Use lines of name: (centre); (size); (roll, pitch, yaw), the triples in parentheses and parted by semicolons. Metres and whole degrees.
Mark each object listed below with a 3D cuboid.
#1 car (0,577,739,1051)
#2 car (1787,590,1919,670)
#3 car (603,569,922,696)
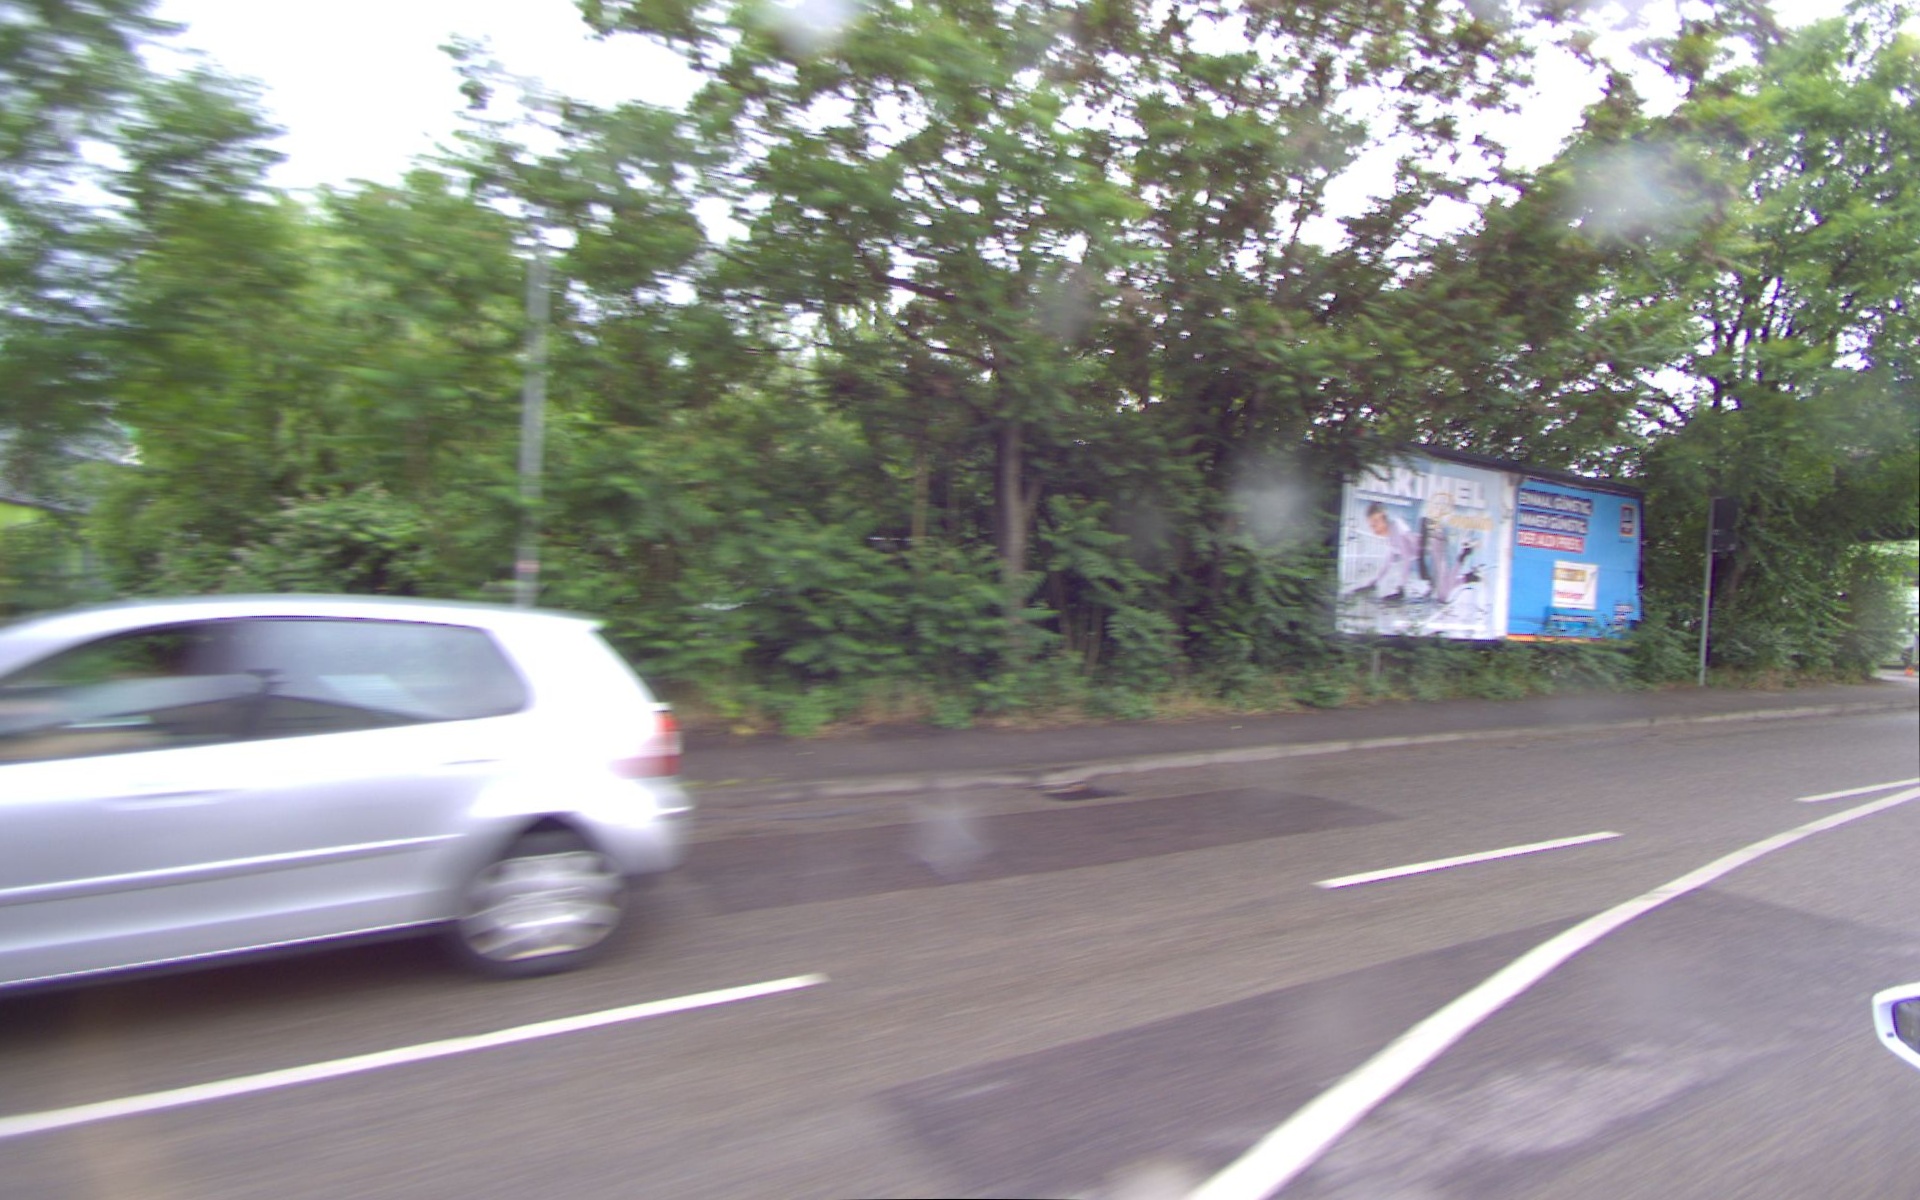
car: (-3.012, 0.676, 3.958); (3.889, 1.435, 1.646); (1, -2, -31)
car: (31.981, 1.001, 34.547); (2.128, 2.664, 5.022); (1, 0, -30)
car: (-2.678, 0.428, 13.815); (3.954, 1.515, 1.694); (2, 1, -31)
